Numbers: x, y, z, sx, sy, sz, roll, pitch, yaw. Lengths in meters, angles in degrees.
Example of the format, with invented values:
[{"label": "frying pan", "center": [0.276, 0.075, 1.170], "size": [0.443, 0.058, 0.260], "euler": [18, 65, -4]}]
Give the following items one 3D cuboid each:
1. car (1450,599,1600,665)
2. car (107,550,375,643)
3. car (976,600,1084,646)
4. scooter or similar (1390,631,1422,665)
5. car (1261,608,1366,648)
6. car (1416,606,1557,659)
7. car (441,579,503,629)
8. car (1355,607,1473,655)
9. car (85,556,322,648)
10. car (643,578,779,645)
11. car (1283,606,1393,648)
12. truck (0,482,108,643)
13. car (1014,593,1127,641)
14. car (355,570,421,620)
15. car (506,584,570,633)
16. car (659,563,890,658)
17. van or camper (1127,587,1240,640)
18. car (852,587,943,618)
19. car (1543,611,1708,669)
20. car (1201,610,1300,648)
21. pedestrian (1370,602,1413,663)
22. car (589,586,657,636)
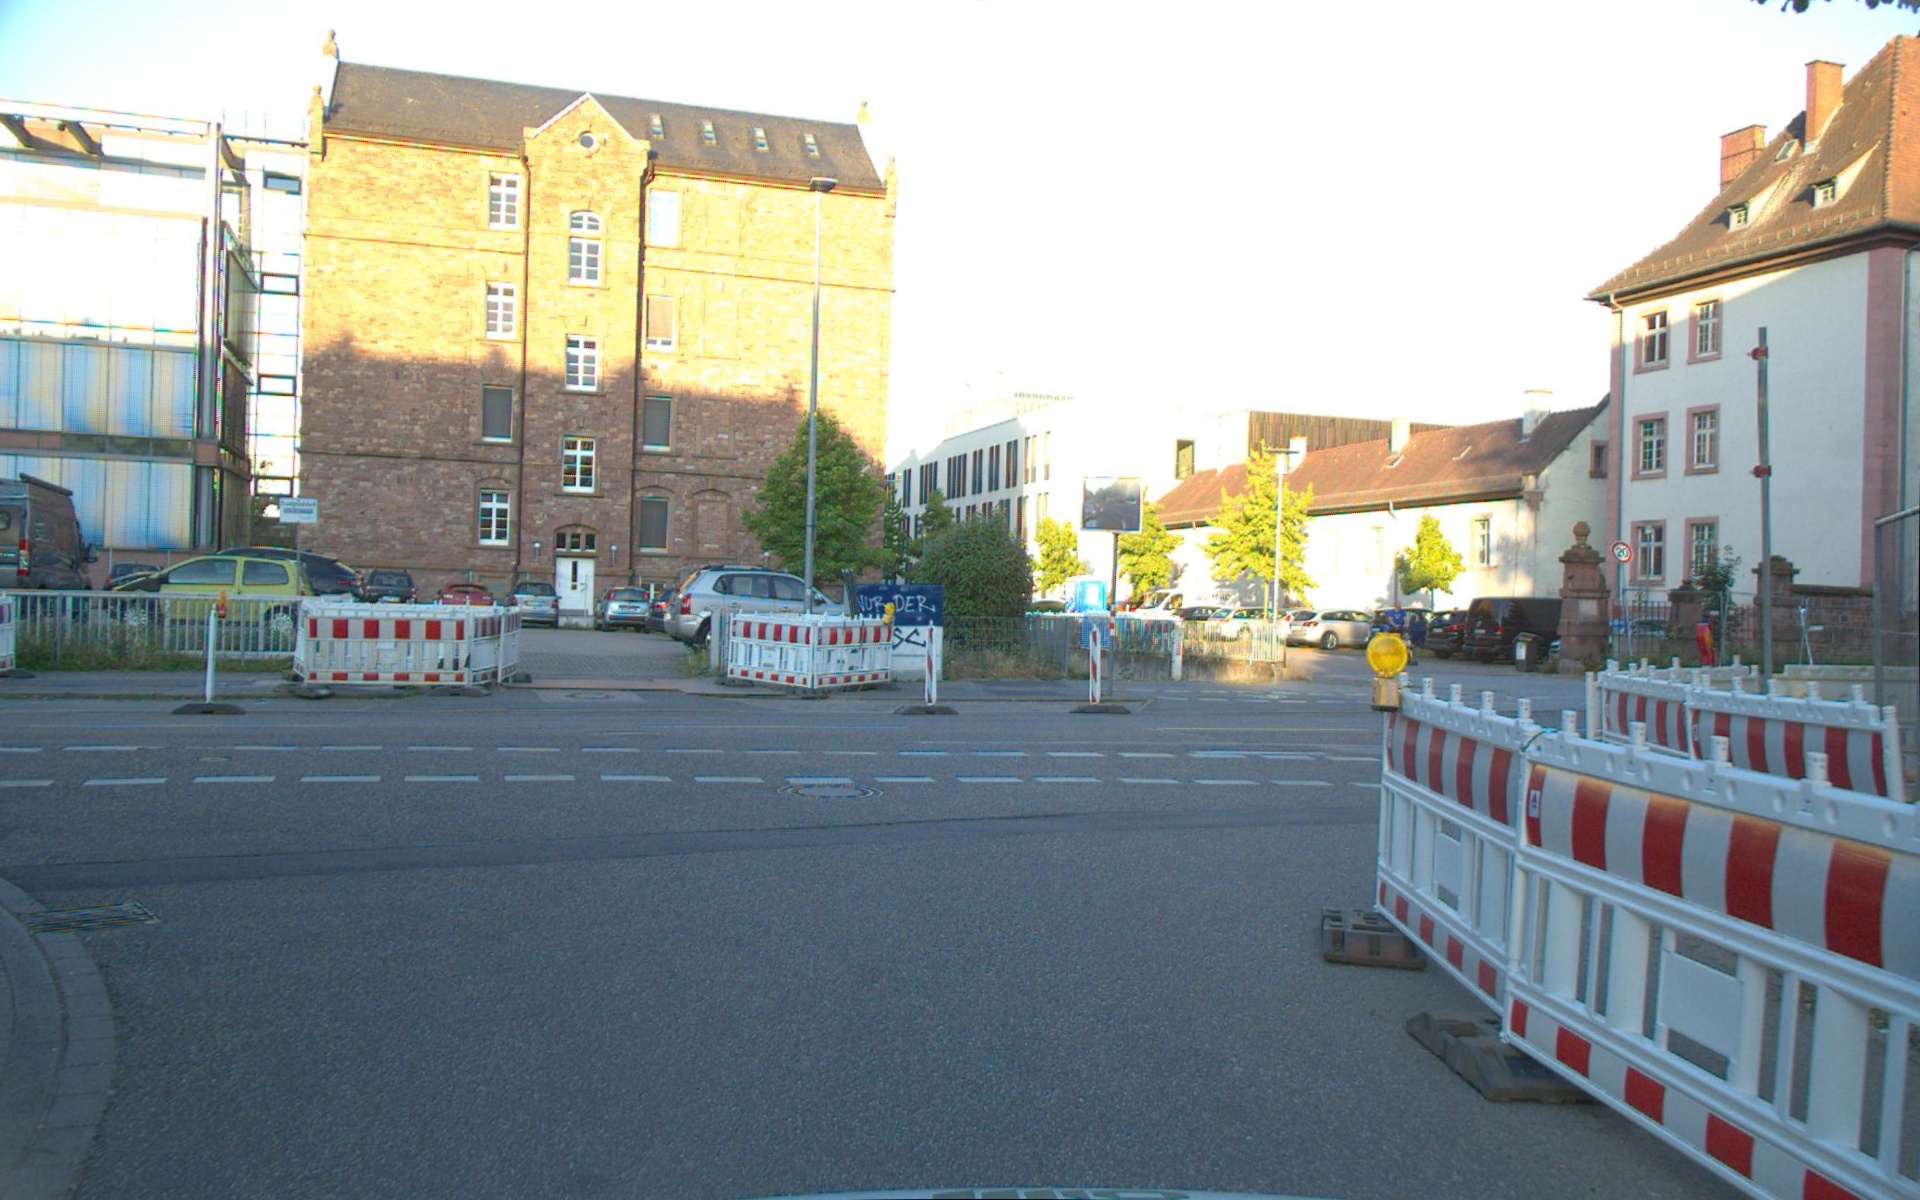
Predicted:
[{"label": "car", "center": [17.086, 0.957, 50.040], "size": [3.930, 1.891, 1.987], "euler": [1, 0, -21]}, {"label": "car", "center": [-13.666, -0.061, 31.694], "size": [4.509, 1.666, 1.568], "euler": [1, 0, -17]}, {"label": "car", "center": [2.629, 0.856, 62.319], "size": [3.687, 1.631, 1.676], "euler": [1, 0, -21]}, {"label": "scooter or similar", "center": [12.238, 1.302, 45.375], "size": [0.505, 0.906, 0.802], "euler": [1, -1, -17]}, {"label": "car", "center": [13.678, 1.083, 64.043], "size": [3.687, 1.471, 1.676], "euler": [1, 0, -21]}, {"label": "car", "center": [16.750, 1.037, 52.653], "size": [3.930, 1.600, 1.987], "euler": [1, 0, -21]}, {"label": "car", "center": [-16.248, 0.096, 55.062], "size": [1.866, 1.564, 4.159], "euler": [1, 0, -17]}, {"label": "car", "center": [15.693, 1.077, 57.197], "size": [3.687, 1.555, 1.676], "euler": [1, 0, -21]}, {"label": "car", "center": [-13.297, 0.042, 29.268], "size": [3.573, 1.530, 1.630], "euler": [1, 0, -17]}, {"label": "car", "center": [-6.769, 0.311, 44.961], "size": [3.422, 1.738, 1.659], "euler": [1, 0, -19]}, {"label": "car", "center": [14.023, 1.005, 61.400], "size": [3.687, 1.471, 1.676], "euler": [1, 0, -21]}, {"label": "truck", "center": [-17.145, -0.663, 29.749], "size": [2.296, 2.662, 4.950], "euler": [1, 0, -17]}, {"label": "car", "center": [3.969, 0.620, 59.460], "size": [3.687, 1.631, 1.676], "euler": [1, 0, -21]}, {"label": "car", "center": [-18.720, -0.179, 54.271], "size": [1.866, 1.564, 4.159], "euler": [1, 0, -17]}, {"label": "car", "center": [-14.213, 0.258, 55.611], "size": [1.866, 1.564, 4.159], "euler": [1, 0, -17]}, {"label": "car", "center": [-3.613, 0.213, 32.139], "size": [4.204, 1.738, 1.694], "euler": [1, 0, -19]}, {"label": "van or camper", "center": [10.119, 0.620, 74.861], "size": [4.891, 2.280, 1.676], "euler": [1, -1, -22]}, {"label": "car", "center": [-2.941, 0.128, 77.989], "size": [3.926, 1.336, 1.867], "euler": [2, 0, -19]}, {"label": "car", "center": [18.231, 1.093, 45.338], "size": [3.930, 1.484, 1.987], "euler": [1, 0, -21]}, {"label": "car", "center": [11.880, 1.183, 67.678], "size": [3.687, 1.471, 1.676], "euler": [1, 0, -21]}, {"label": "pedestrian", "center": [12.072, 0.908, 46.304], "size": [0.738, 1.671, 1.010], "euler": [1, -1, -17]}, {"label": "car", "center": [-11.477, 0.345, 56.155], "size": [1.866, 1.564, 4.159], "euler": [1, 0, -17]}]
